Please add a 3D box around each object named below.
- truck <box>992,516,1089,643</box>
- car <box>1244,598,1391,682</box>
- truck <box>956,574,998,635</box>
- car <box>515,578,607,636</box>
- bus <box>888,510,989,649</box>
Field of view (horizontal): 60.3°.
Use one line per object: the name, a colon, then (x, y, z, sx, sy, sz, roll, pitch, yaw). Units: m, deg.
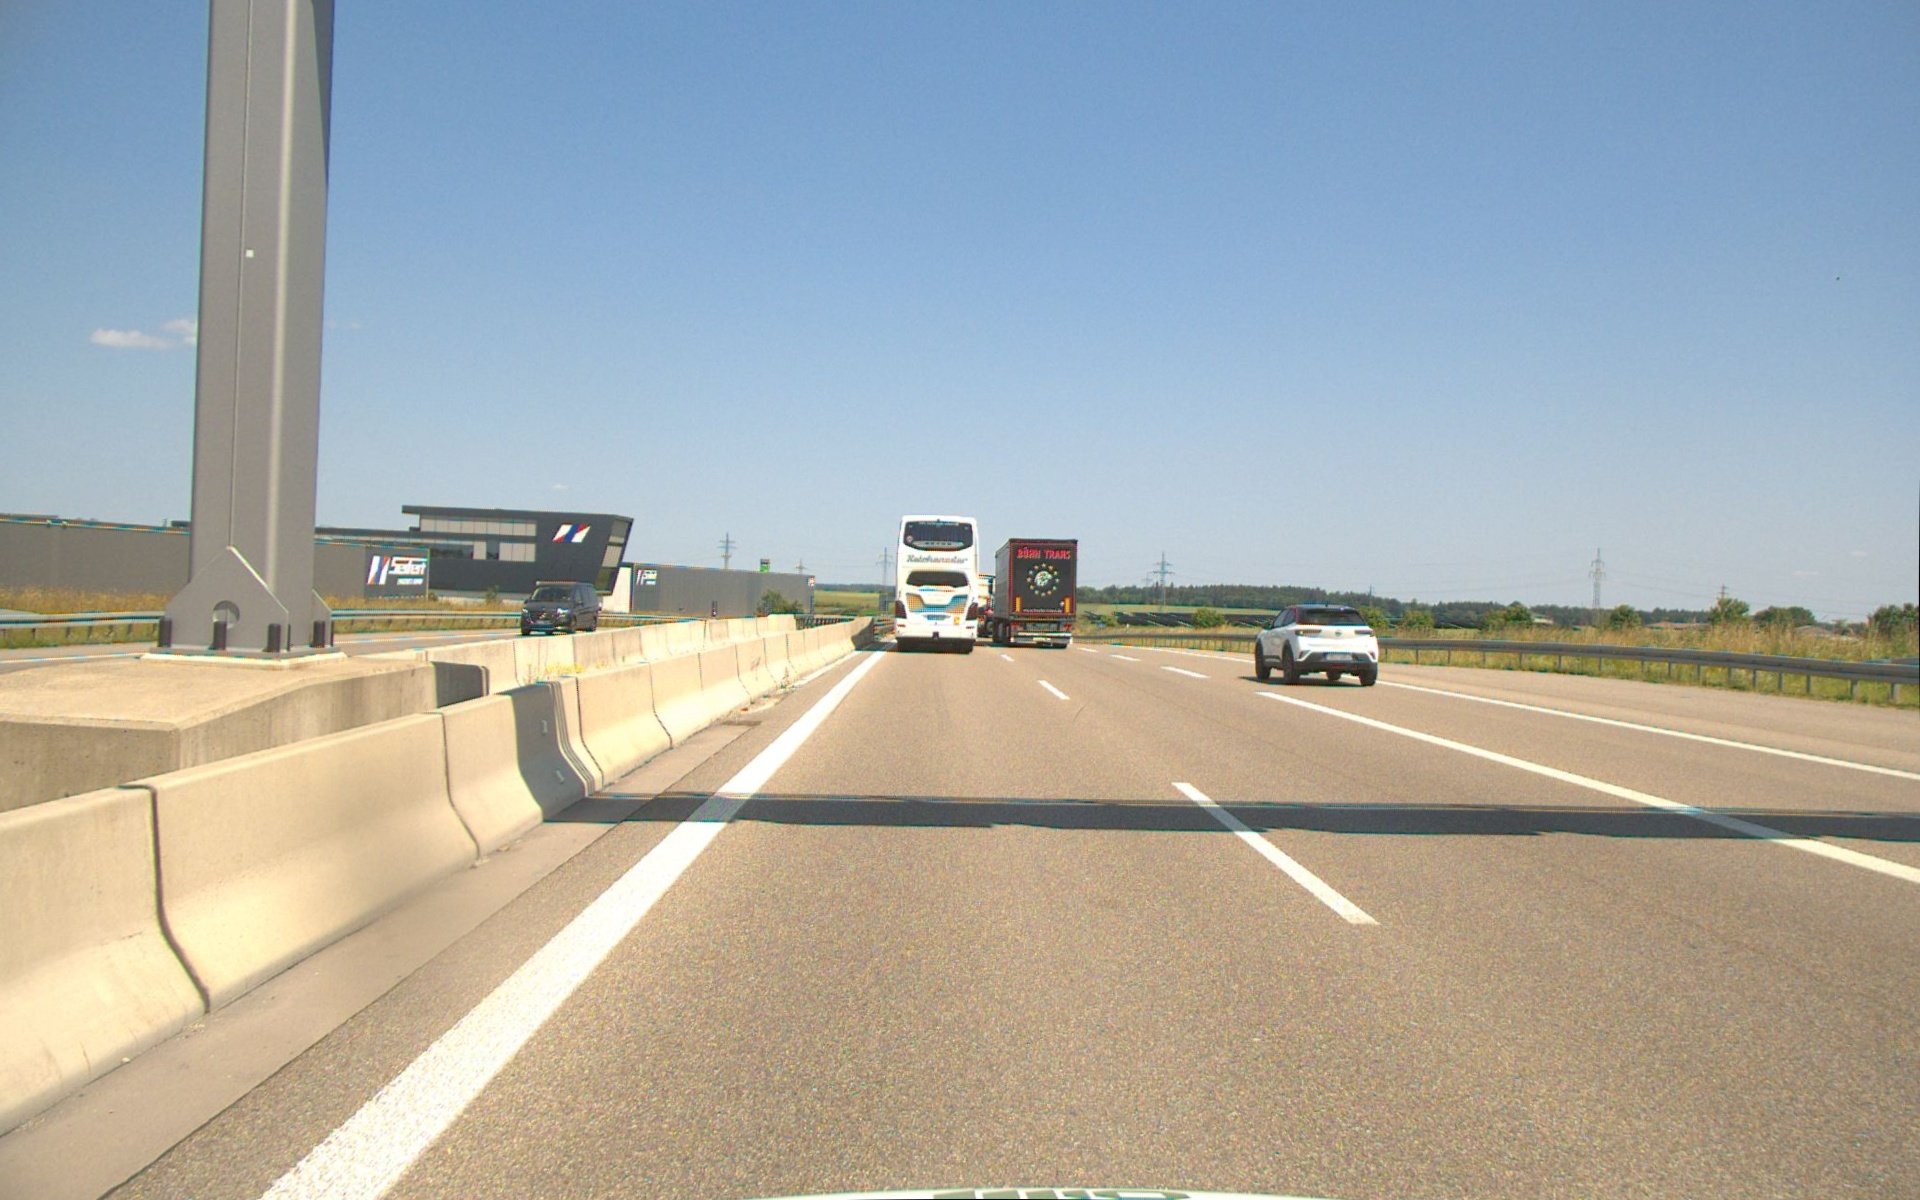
truck: (3.075, -0.580, 67.378, 3.310, 4.542, 13.566, 2, -2, 1)
car: (7.170, 0.756, 33.592, 1.853, 1.556, 4.259, 1, 0, -3)
truck: (1.074, 0.302, 108.787, 2.388, 3.855, 6.491, 1, 0, -2)
car: (-14.750, 0.242, 61.505, 2.104, 2.049, 5.381, 1, 0, 0)
bus: (-0.777, -0.692, 53.312, 2.920, 4.044, 9.102, 1, 1, -2)
